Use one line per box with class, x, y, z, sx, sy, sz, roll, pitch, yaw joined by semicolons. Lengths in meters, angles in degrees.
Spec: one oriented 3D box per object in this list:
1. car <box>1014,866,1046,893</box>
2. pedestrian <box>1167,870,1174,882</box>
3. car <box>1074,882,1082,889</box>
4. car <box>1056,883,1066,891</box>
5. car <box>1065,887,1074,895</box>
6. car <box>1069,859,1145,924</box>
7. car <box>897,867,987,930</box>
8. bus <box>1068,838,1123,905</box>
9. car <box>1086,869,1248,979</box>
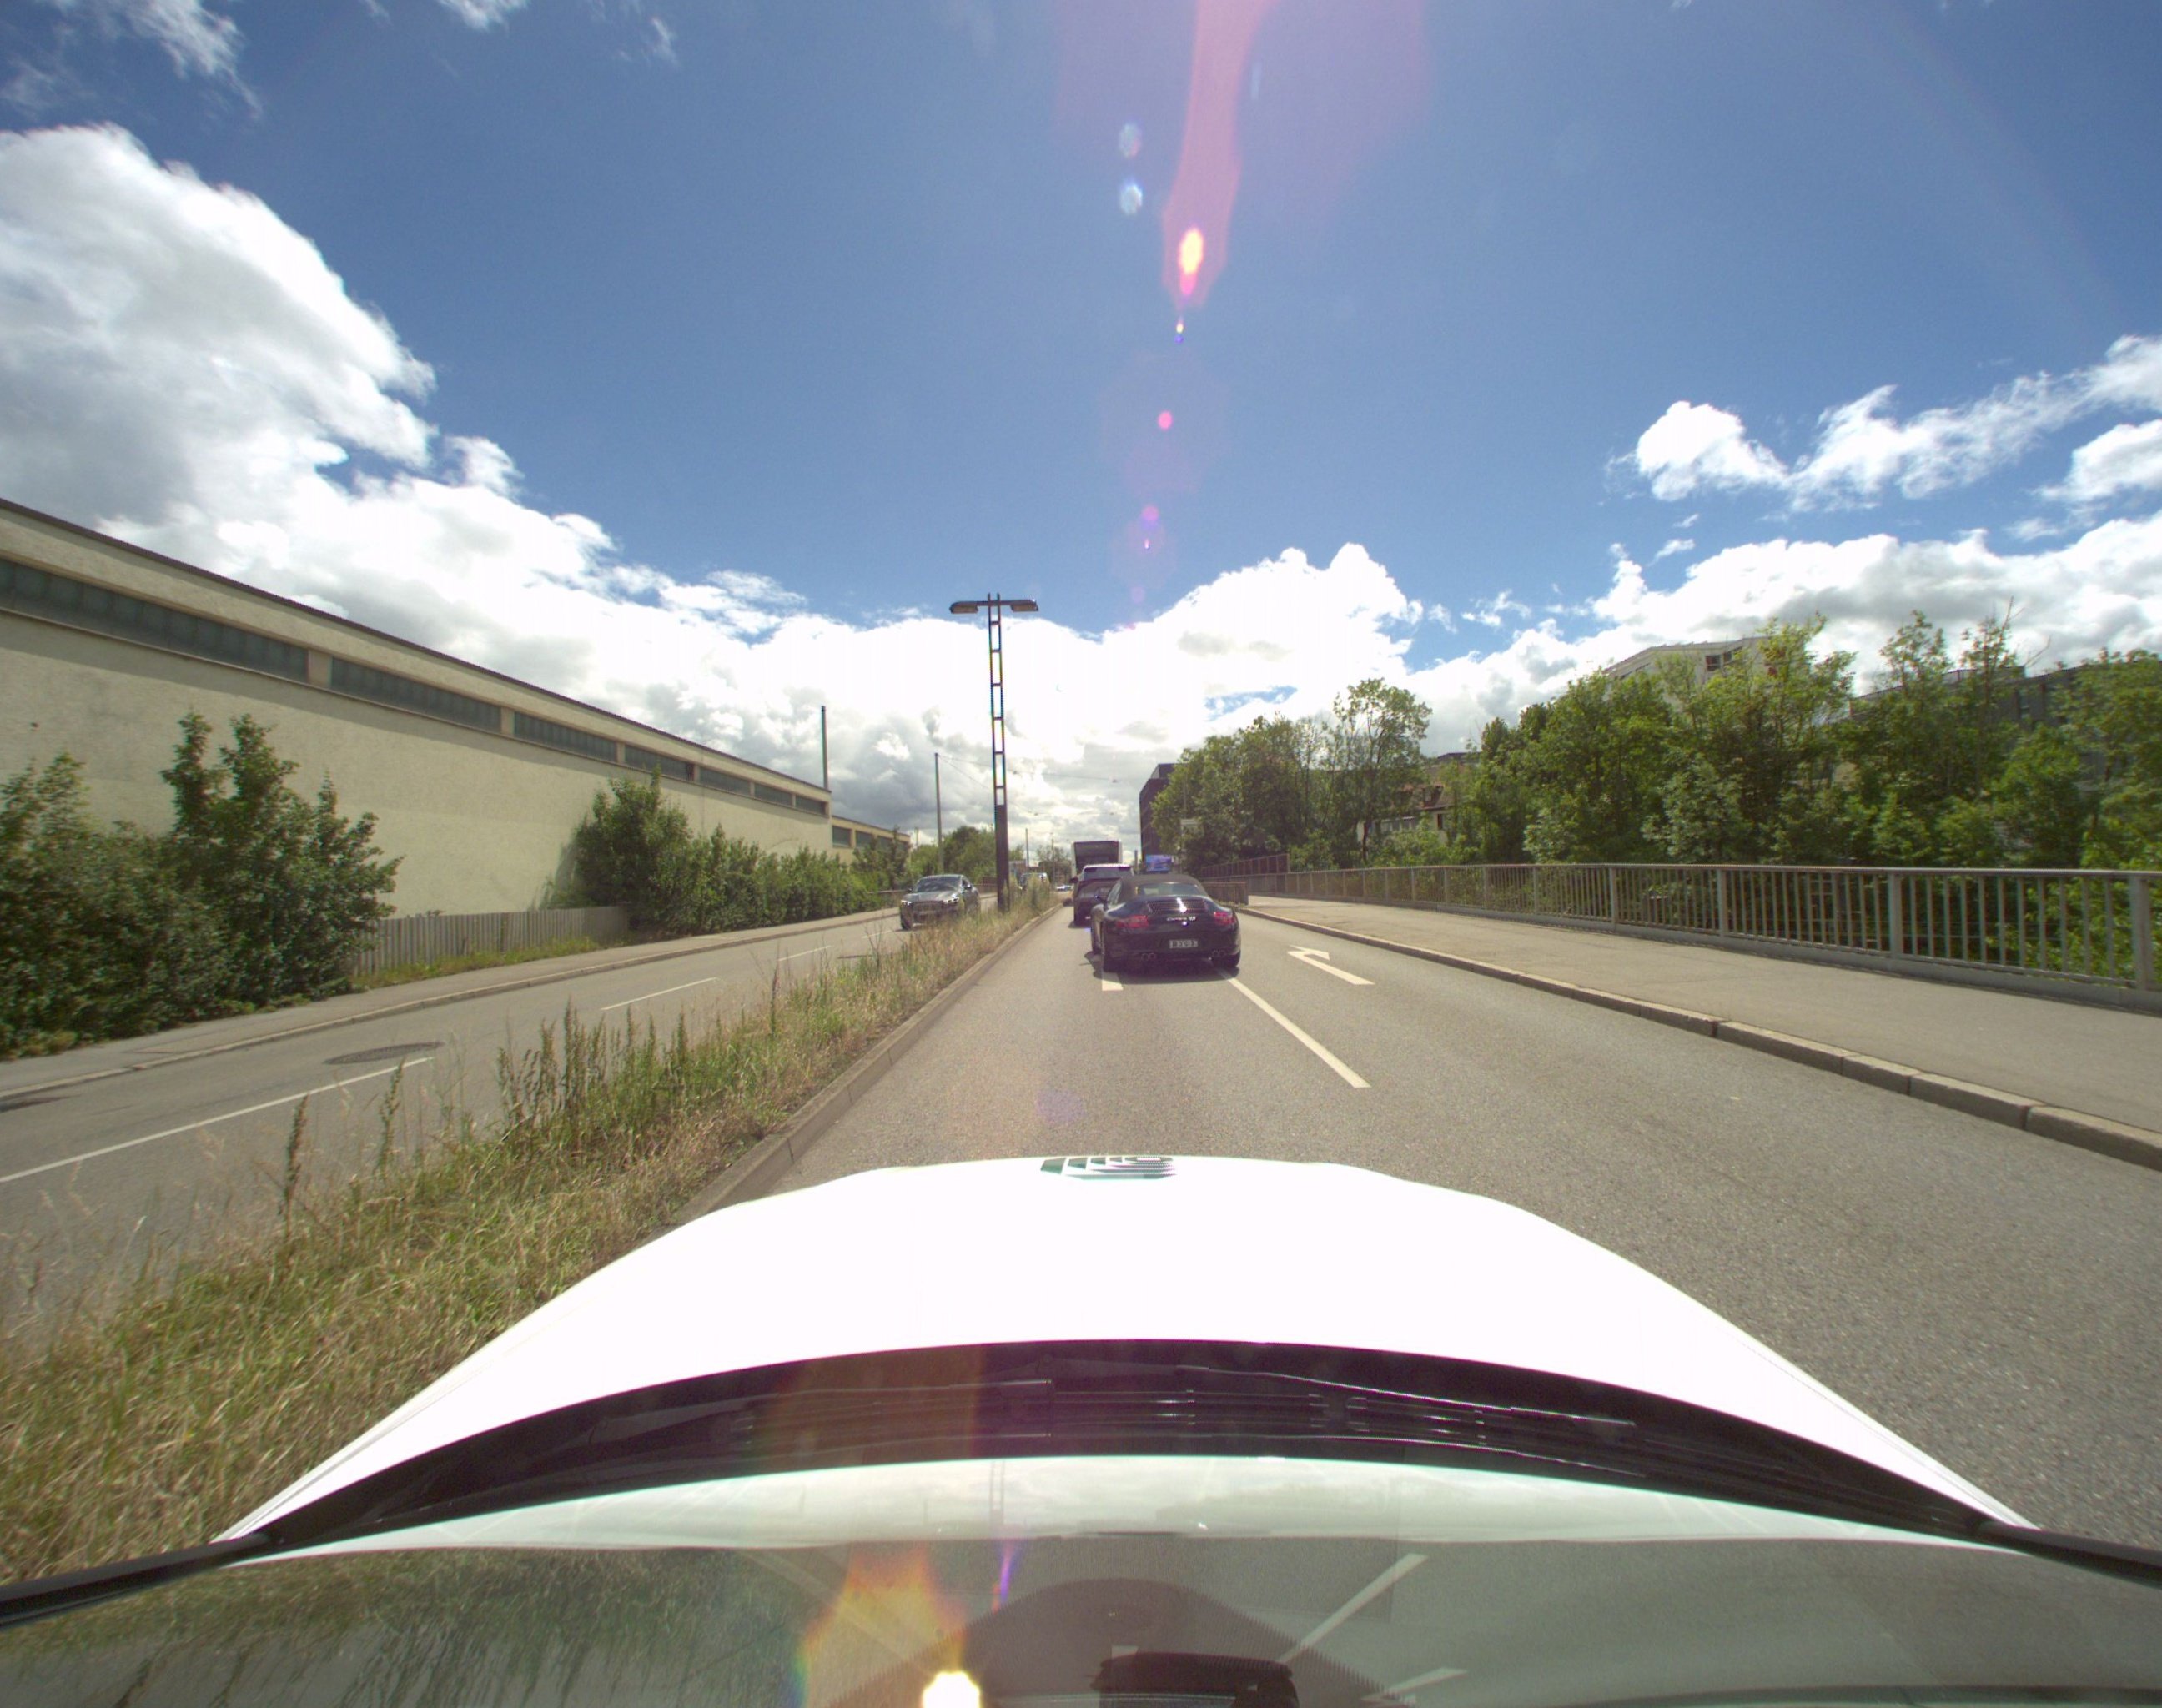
car;-3.700;1.855;59.904;1.988;1.888;4.866;-2;-1;-1
pedestrian;12.049;2.978;109.922;0.673;1.696;0.602;-3;-3;26
car;-0.682;7.063;183.632;1.622;1.431;4.000;-2;-3;1
car;-3.525;5.853;145.355;1.631;1.363;4.194;-3;-2;1
car;-2.380;7.566;166.478;1.804;1.560;4.206;-2;-2;0
car;0.721;0.945;22.466;1.872;1.594;4.231;-1;0;2
car;-4.216;1.303;25.466;1.871;1.627;4.444;-4;-1;1
bus;0.930;0.760;45.662;2.678;3.255;12.064;-1;1;2
car;1.091;0.898;12.161;1.716;1.275;4.082;-1;0;-4
